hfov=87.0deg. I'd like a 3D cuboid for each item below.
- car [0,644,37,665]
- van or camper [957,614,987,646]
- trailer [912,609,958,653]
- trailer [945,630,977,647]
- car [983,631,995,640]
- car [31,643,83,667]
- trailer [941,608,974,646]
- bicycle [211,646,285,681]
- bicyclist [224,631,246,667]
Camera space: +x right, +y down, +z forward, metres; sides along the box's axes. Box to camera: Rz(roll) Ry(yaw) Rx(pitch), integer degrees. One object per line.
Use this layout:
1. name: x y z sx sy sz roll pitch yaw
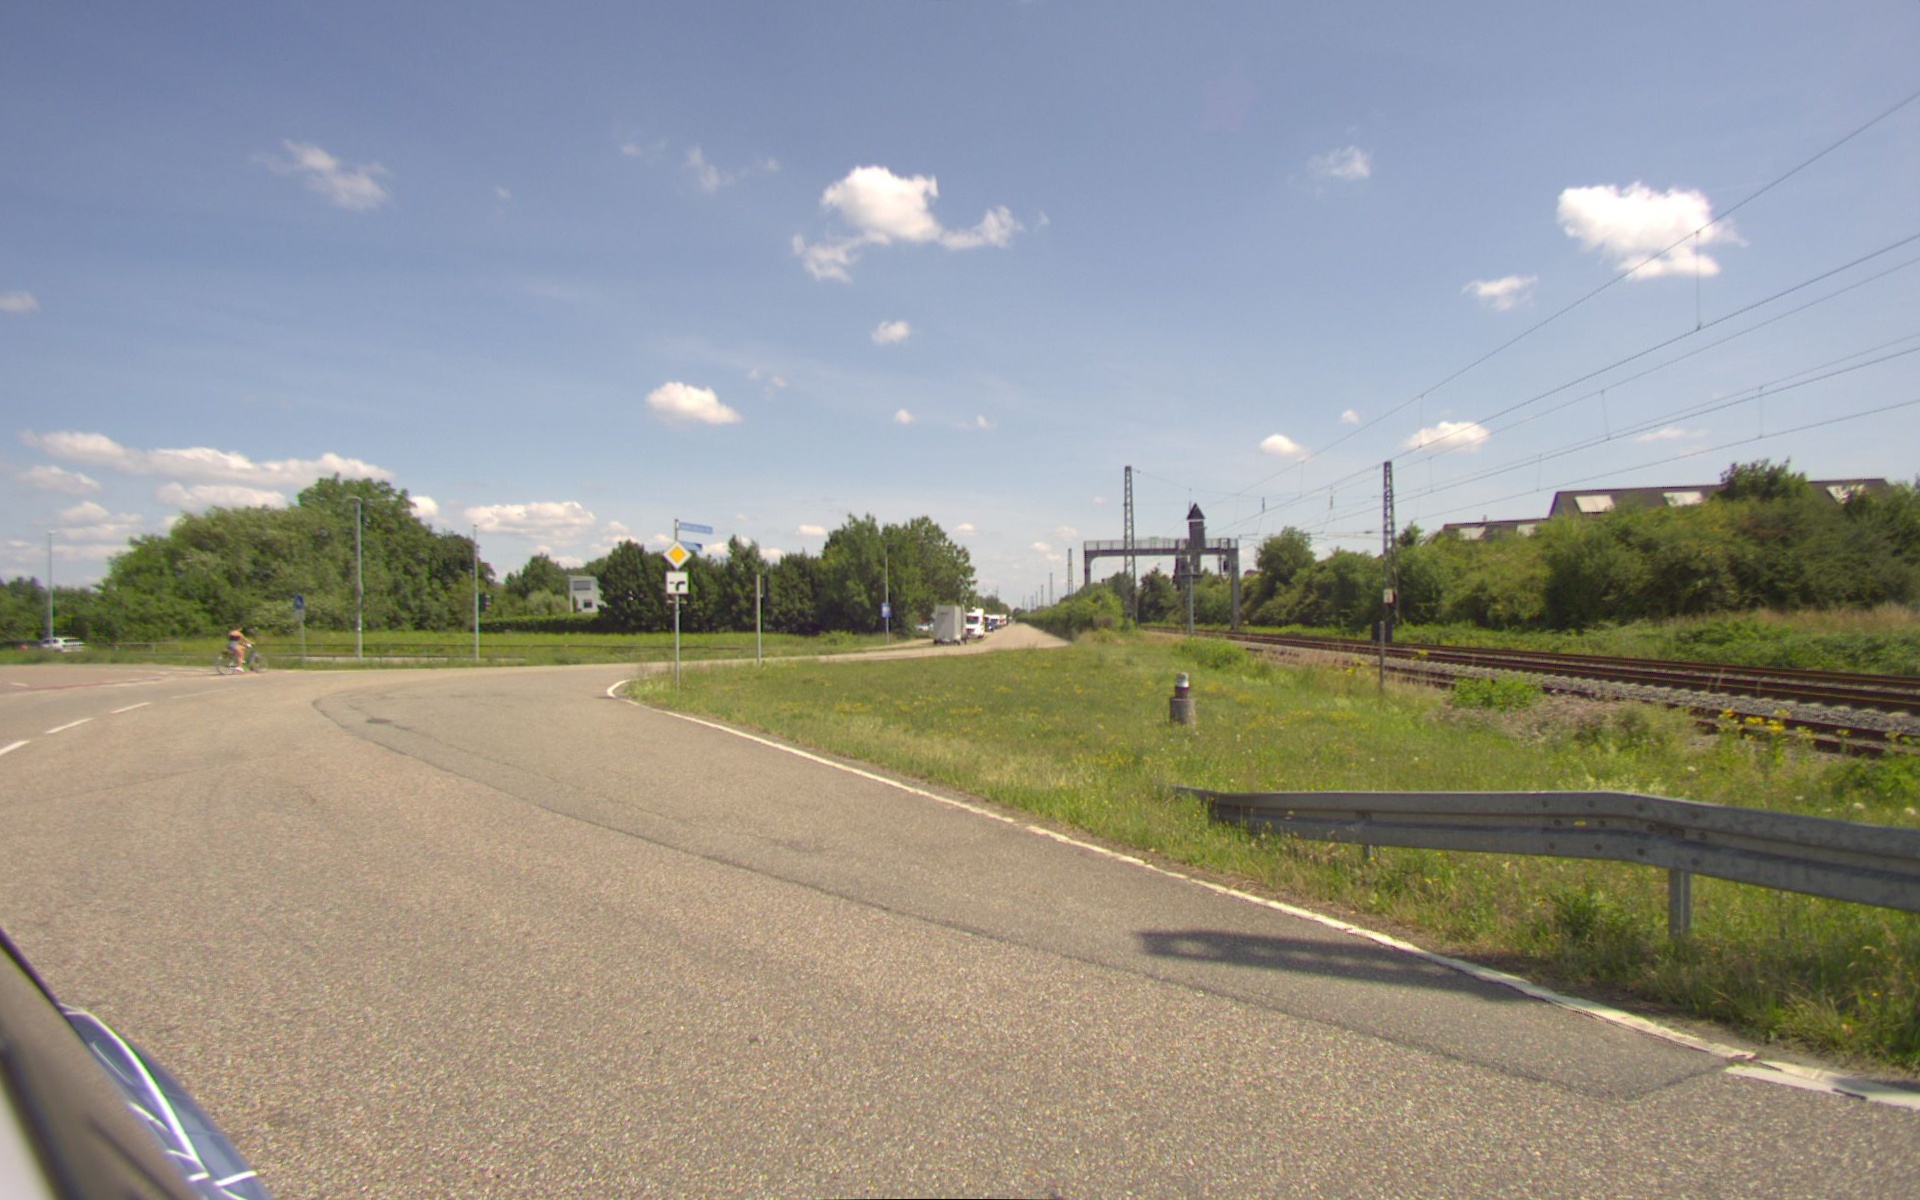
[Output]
1. car: -65.728 3.790 70.017 3.091 1.348 1.411 -3 -1 17
2. van or camper: 1.200 2.839 96.386 2.415 2.848 7.614 0 -2 3
3. trailer: -1.545 1.970 64.872 1.917 2.664 5.168 1 -2 9
4. trailer: 0.105 2.949 77.712 1.987 1.131 4.480 1 -1 6
5. car: 4.115 4.945 142.229 1.564 1.238 3.780 -1 -2 4
6. car: -65.418 3.973 73.303 3.090 1.516 1.411 -3 -1 16
7. trailer: -0.130 1.903 70.950 1.900 2.527 4.734 1 -2 4
8. bicycle: -25.818 2.291 36.747 0.659 1.173 2.123 -2 -2 32
9. bicyclist: -26.059 1.761 36.360 0.468 1.265 0.506 -2 -2 32
